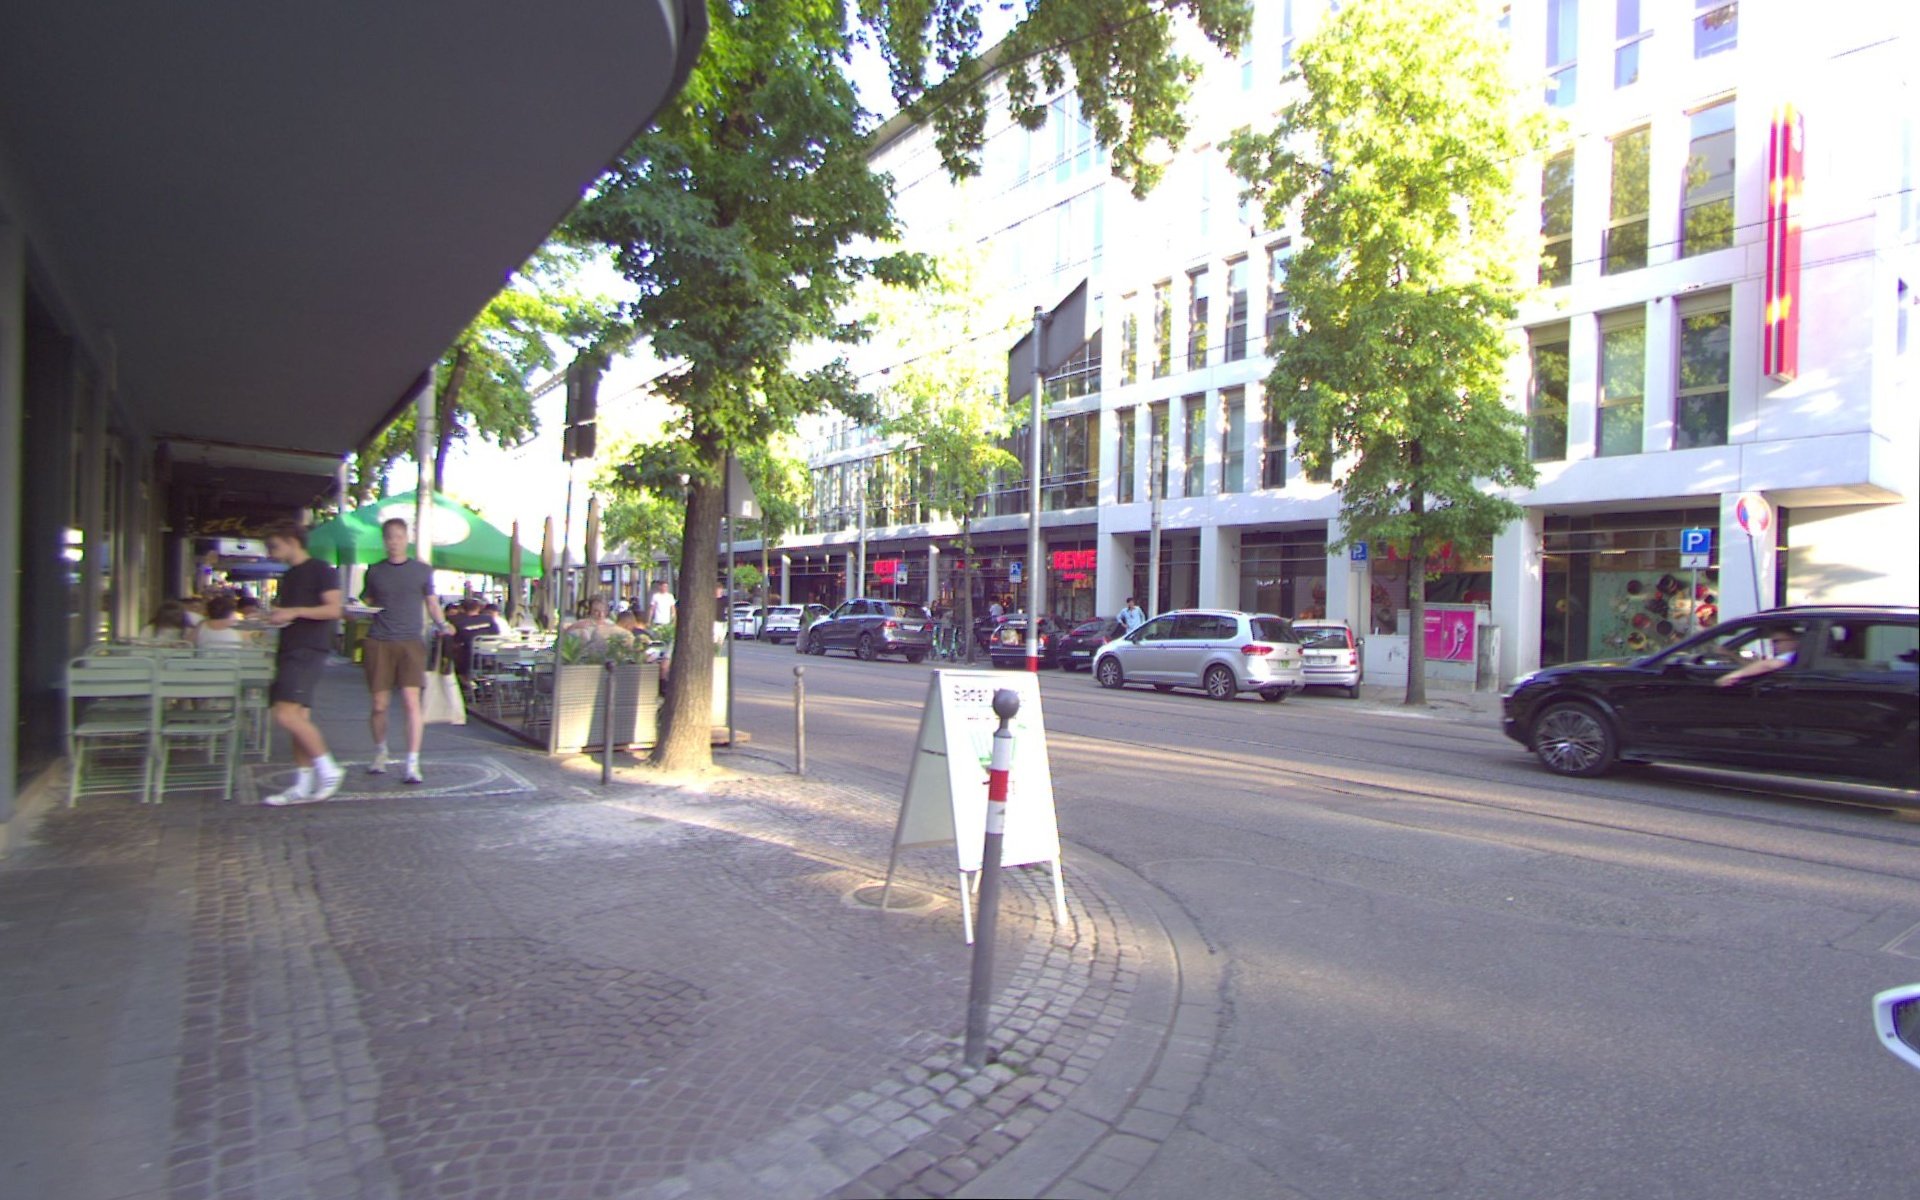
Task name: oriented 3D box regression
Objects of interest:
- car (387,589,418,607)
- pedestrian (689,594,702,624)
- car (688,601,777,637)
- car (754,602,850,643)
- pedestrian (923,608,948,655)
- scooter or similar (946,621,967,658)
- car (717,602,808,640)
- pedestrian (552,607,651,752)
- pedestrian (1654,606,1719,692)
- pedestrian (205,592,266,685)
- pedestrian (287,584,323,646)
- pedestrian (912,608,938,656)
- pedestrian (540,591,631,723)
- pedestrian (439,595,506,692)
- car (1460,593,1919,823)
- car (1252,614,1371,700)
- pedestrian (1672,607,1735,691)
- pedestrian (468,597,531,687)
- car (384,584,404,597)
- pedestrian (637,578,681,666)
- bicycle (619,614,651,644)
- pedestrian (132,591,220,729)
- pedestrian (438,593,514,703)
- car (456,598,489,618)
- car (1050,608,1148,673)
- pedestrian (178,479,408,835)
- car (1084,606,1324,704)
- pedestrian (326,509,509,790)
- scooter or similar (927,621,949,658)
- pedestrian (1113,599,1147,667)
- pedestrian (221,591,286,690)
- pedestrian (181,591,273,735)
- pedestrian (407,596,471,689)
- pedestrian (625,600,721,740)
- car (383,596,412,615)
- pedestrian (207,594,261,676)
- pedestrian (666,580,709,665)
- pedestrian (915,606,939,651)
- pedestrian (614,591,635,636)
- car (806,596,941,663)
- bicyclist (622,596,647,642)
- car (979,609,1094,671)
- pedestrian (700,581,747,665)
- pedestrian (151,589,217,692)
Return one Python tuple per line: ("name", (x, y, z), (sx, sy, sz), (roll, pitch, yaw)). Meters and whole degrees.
("car", (-54.203, -0.201, 97.643), (1.915, 1.662, 3.678), (2, -1, -40))
("pedestrian", (-16.807, 0.559, 63.780), (0.591, 1.864, 0.606), (1, 0, -39))
("car", (-10.585, 0.864, 46.989), (1.915, 1.526, 3.992), (-1, 1, 26))
("car", (-6.394, 0.887, 41.032), (1.915, 1.526, 3.992), (-1, 1, 26))
("pedestrian", (-0.870, 1.136, 36.068), (0.602, 1.649, 0.640), (2, 0, 40))
("scooter or similar", (-0.087, 1.205, 31.039), (0.382, 1.085, 1.807), (2, 0, 7))
("car", (-8.774, 0.908, 44.971), (1.915, 1.526, 3.992), (-1, 1, 26))
("pedestrian", (-3.601, 0.765, 10.075), (0.708, 1.346, 0.723), (1, 2, -40))
("pedestrian", (14.343, 0.961, 19.835), (0.605, 1.649, 0.865), (1, -1, -32))
("pedestrian", (-10.365, 0.538, 14.372), (0.648, 1.277, 0.666), (1, 2, -40))
("pedestrian", (-17.697, 0.393, 27.127), (0.704, 1.628, 0.870), (1, 0, -39))
("pedestrian", (-1.238, 1.115, 35.310), (0.602, 1.649, 0.640), (2, 0, 40))
("pedestrian", (-4.164, 0.608, 11.165), (0.725, 1.377, 0.705), (1, 2, -40))
("pedestrian", (-7.260, 0.636, 14.954), (0.725, 1.377, 0.705), (1, 2, -40))
("car", (7.563, 0.863, 9.269), (2.003, 1.749, 4.895), (2, 0, -36))
("car", (7.641, 1.146, 21.596), (1.915, 1.526, 3.992), (-1, 1, 26))
("pedestrian", (14.935, 0.978, 20.190), (0.605, 1.649, 0.865), (1, -1, -32))
("pedestrian", (-7.385, 0.658, 16.108), (0.725, 1.377, 0.705), (1, 2, -40))
("car", (-68.412, -1.176, 121.319), (1.658, 1.562, 3.465), (2, 0, -37))
("pedestrian", (-6.812, 0.504, 22.715), (0.705, 1.927, 1.060), (1, -1, -30))
("bicycle", (-13.311, 1.185, 41.131), (0.508, 1.166, 2.033), (1, 0, -39))
("pedestrian", (-7.747, 0.569, 9.926), (0.648, 1.277, 0.666), (1, 2, -40))
("pedestrian", (-6.410, 0.612, 13.294), (0.725, 1.377, 0.705), (1, 2, -40))
("car", (-39.346, 0.637, 81.027), (1.660, 1.562, 3.461), (2, -1, -39))
("car", (3.867, 1.057, 27.425), (1.561, 1.526, 3.587), (-1, 1, 26))
("pedestrian", (-4.106, 0.321, 6.174), (1.060, 1.927, 1.018), (1, -1, -40))
("car", (4.590, 1.007, 19.409), (1.813, 1.613, 4.236), (4, -2, -39))
("pedestrian", (-4.121, 0.352, 7.622), (1.021, 1.927, 1.057), (1, -1, -39))
("scooter or similar", (-0.673, 1.203, 31.285), (0.382, 1.085, 1.807), (2, 0, 7))
("pedestrian", (4.269, 0.818, 25.206), (0.630, 1.649, 0.641), (1, 0, 33))
("pedestrian", (-9.604, 0.534, 13.653), (0.648, 1.277, 0.666), (1, 2, -40))
("pedestrian", (-6.935, 0.570, 9.496), (0.648, 1.277, 0.666), (1, 2, -40))
("pedestrian", (-8.115, 0.639, 15.640), (0.725, 1.377, 0.705), (1, 2, -40))
("pedestrian", (-3.028, 0.711, 10.592), (0.725, 1.377, 0.705), (1, 2, -40))
("car", (-49.545, 0.473, 88.430), (1.660, 1.562, 3.461), (2, -1, -39))
("pedestrian", (-11.788, 0.560, 16.313), (0.648, 1.277, 0.666), (1, 2, -40))
("pedestrian", (-6.387, 0.525, 23.484), (0.705, 1.927, 1.060), (1, -1, -30))
("pedestrian", (-1.246, 1.053, 37.491), (0.634, 1.649, 0.608), (1, 0, 44))
("pedestrian", (-15.343, 0.610, 45.956), (0.643, 2.040, 0.786), (1, 0, -39))
("car", (-2.603, 0.834, 29.558), (1.854, 1.760, 4.236), (4, -2, -39))
("bicyclist", (-13.365, 0.772, 41.237), (0.649, 1.880, 0.980), (2, 0, -38))
("car", (2.287, 1.094, 28.903), (1.915, 1.526, 3.992), (-1, 1, 26))
("pedestrian", (-5.604, 0.541, 23.772), (0.817, 1.927, 1.060), (1, -1, -30))
("pedestrian", (-10.203, 0.516, 13.207), (0.648, 1.277, 0.666), (1, 2, -40))
